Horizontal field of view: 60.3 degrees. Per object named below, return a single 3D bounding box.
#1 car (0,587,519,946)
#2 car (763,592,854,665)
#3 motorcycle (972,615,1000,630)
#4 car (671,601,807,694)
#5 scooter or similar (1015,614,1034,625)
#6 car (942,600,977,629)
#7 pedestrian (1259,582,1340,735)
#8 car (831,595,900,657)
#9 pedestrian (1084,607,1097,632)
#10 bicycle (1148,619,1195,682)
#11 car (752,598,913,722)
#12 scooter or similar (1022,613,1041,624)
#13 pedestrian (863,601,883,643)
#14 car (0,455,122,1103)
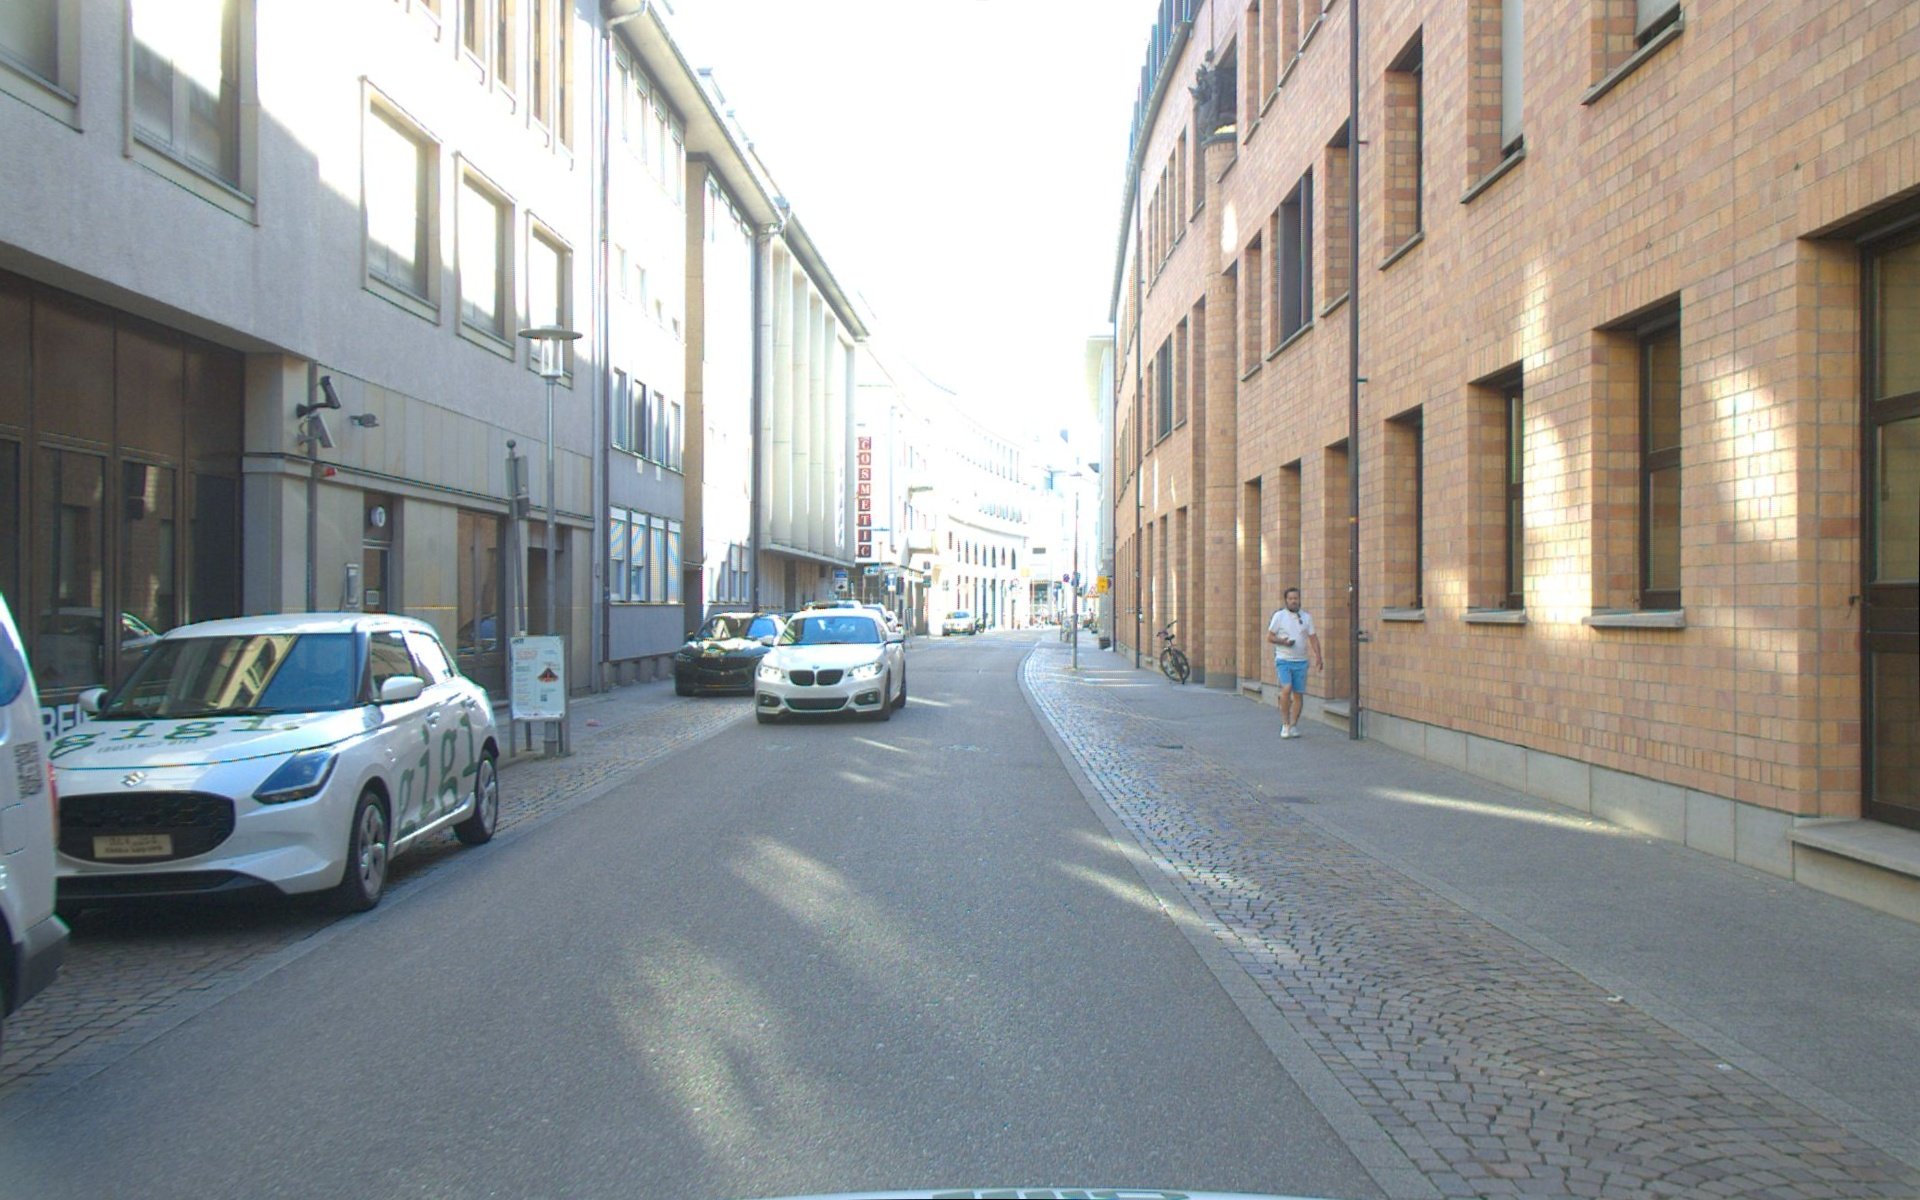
[{"bbox_3d":[-3.748,0.749,9.287,1.636,1.548,3.774,-2,0,-3],"label":"car"},{"bbox_3d":[-3.727,0.670,41.325,1.851,1.705,4.553,0,0,0],"label":"car"},{"bbox_3d":[1.634,1.403,103.124,1.655,0.874,0.595,2,-1,8],"label":"motorcycle"},{"bbox_3d":[-3.924,0.807,30.130,1.851,1.557,4.728,0,0,0],"label":"car"},{"bbox_3d":[5.344,1.611,137.584,0.516,0.944,2.221,1,0,33],"label":"scooter or similar"},{"bbox_3d":[-0.011,0.823,95.486,1.700,1.634,3.534,1,0,4],"label":"car"},{"bbox_3d":[3.993,0.670,19.497,0.745,1.746,0.821,-1,0,0],"label":"pedestrian"},{"bbox_3d":[-2.808,0.755,49.910,1.851,1.773,4.390,0,0,0],"label":"car"},{"bbox_3d":[10.142,1.531,128.253,0.651,1.901,0.779,3,-1,-27],"label":"pedestrian"},{"bbox_3d":[4.085,0.956,32.049,0.538,1.122,1.981,-3,0,-2],"label":"bicycle"},{"bbox_3d":[-1.651,0.745,22.673,1.679,1.544,4.161,0,0,3],"label":"car"},{"bbox_3d":[6.133,1.587,141.295,0.516,0.944,2.221,1,0,33],"label":"scooter or similar"},{"bbox_3d":[-3.468,0.857,65.705,0.640,1.654,0.451,1,-1,-38],"label":"pedestrian"},{"bbox_3d":[-3.678,0.539,3.156,1.861,1.890,4.731,-1,0,-2],"label":"car"}]
